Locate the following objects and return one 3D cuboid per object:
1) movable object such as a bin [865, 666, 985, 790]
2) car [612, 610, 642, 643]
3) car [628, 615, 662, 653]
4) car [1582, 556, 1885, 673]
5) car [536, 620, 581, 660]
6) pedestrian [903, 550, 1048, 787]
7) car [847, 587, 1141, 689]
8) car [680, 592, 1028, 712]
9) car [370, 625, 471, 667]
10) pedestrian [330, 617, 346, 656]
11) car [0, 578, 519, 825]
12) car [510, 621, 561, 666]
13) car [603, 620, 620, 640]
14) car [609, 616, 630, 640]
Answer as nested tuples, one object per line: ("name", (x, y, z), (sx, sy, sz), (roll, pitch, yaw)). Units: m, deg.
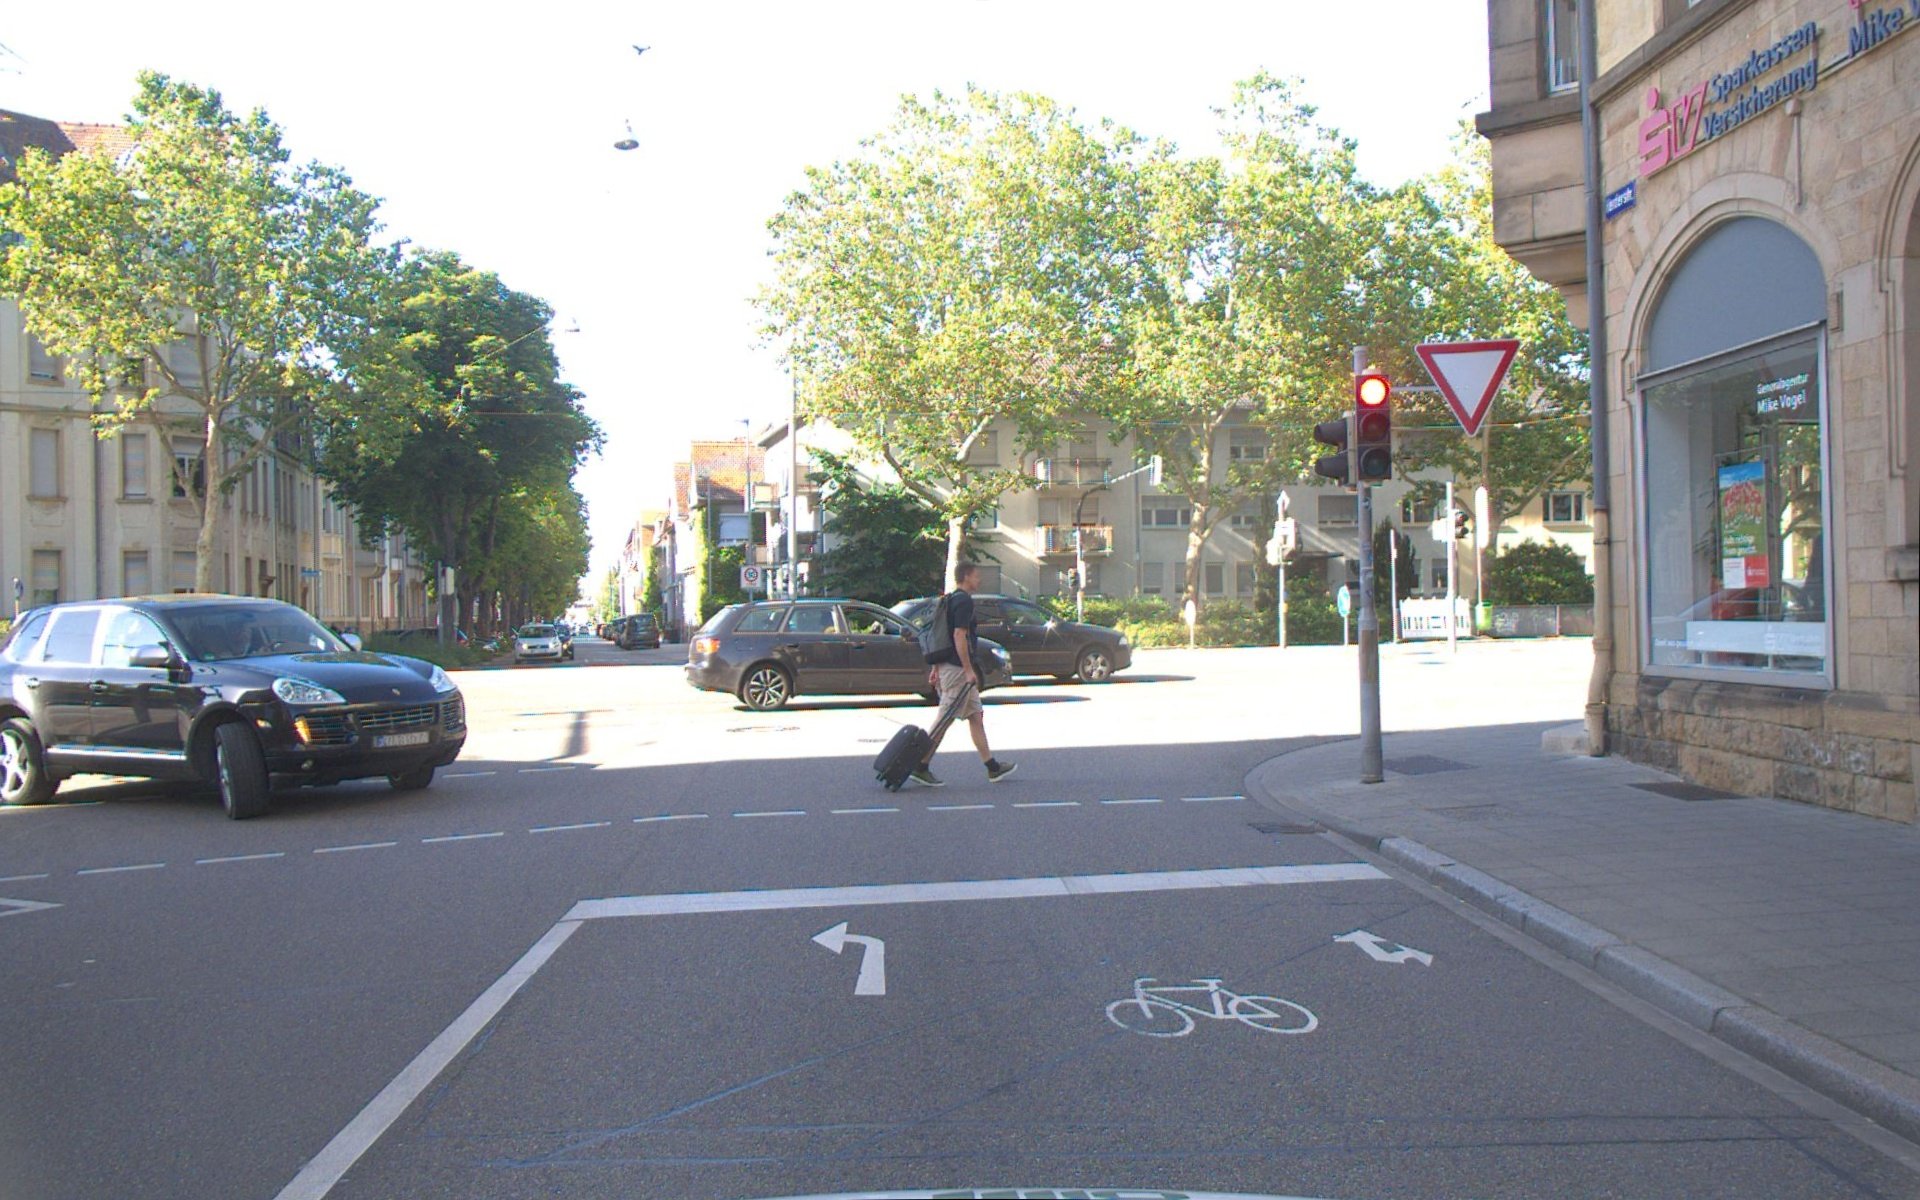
("movable object such as a bin", (-0.281, 0.998, 13.090), (0.847, 0.907, 0.508), (-2, 0, -13))
("car", (-21.017, 1.651, 104.286), (1.742, 1.952, 3.523), (-3, 0, -12))
("car", (-17.983, 1.915, 94.214), (1.742, 1.952, 3.523), (-3, 0, -12))
("car", (12.876, 0.215, 27.558), (4.587, 1.693, 1.722), (-2, 0, -17))
("car", (-16.723, 1.652, 68.987), (1.669, 1.509, 3.523), (-3, 1, -12))
("pedestrian", (0.119, 0.541, 13.636), (1.047, 1.881, 0.746), (0, 0, -13))
("car", (0.526, 0.598, 27.505), (4.539, 1.482, 1.974), (-2, 0, -14))
("car", (-1.490, 0.667, 22.782), (4.541, 1.482, 1.723), (-1, 0, -15))
("car", (-20.451, 1.733, 62.802), (3.572, 1.483, 1.650), (-1, 0, -16))
("pedestrian", (-23.787, 1.386, 63.224), (0.480, 1.467, 0.702), (1, -1, -16))
("car", (-6.202, 0.798, 13.908), (4.604, 1.723, 2.077), (-2, 1, 29))
("car", (-16.172, 1.633, 63.074), (1.669, 1.509, 3.523), (-3, 1, -12))
("car", (-37.940, 3.252, 180.180), (1.742, 1.952, 3.523), (-3, 0, -12))
("car", (-30.050, 2.448, 145.932), (1.742, 1.952, 3.523), (-3, 0, -12))
